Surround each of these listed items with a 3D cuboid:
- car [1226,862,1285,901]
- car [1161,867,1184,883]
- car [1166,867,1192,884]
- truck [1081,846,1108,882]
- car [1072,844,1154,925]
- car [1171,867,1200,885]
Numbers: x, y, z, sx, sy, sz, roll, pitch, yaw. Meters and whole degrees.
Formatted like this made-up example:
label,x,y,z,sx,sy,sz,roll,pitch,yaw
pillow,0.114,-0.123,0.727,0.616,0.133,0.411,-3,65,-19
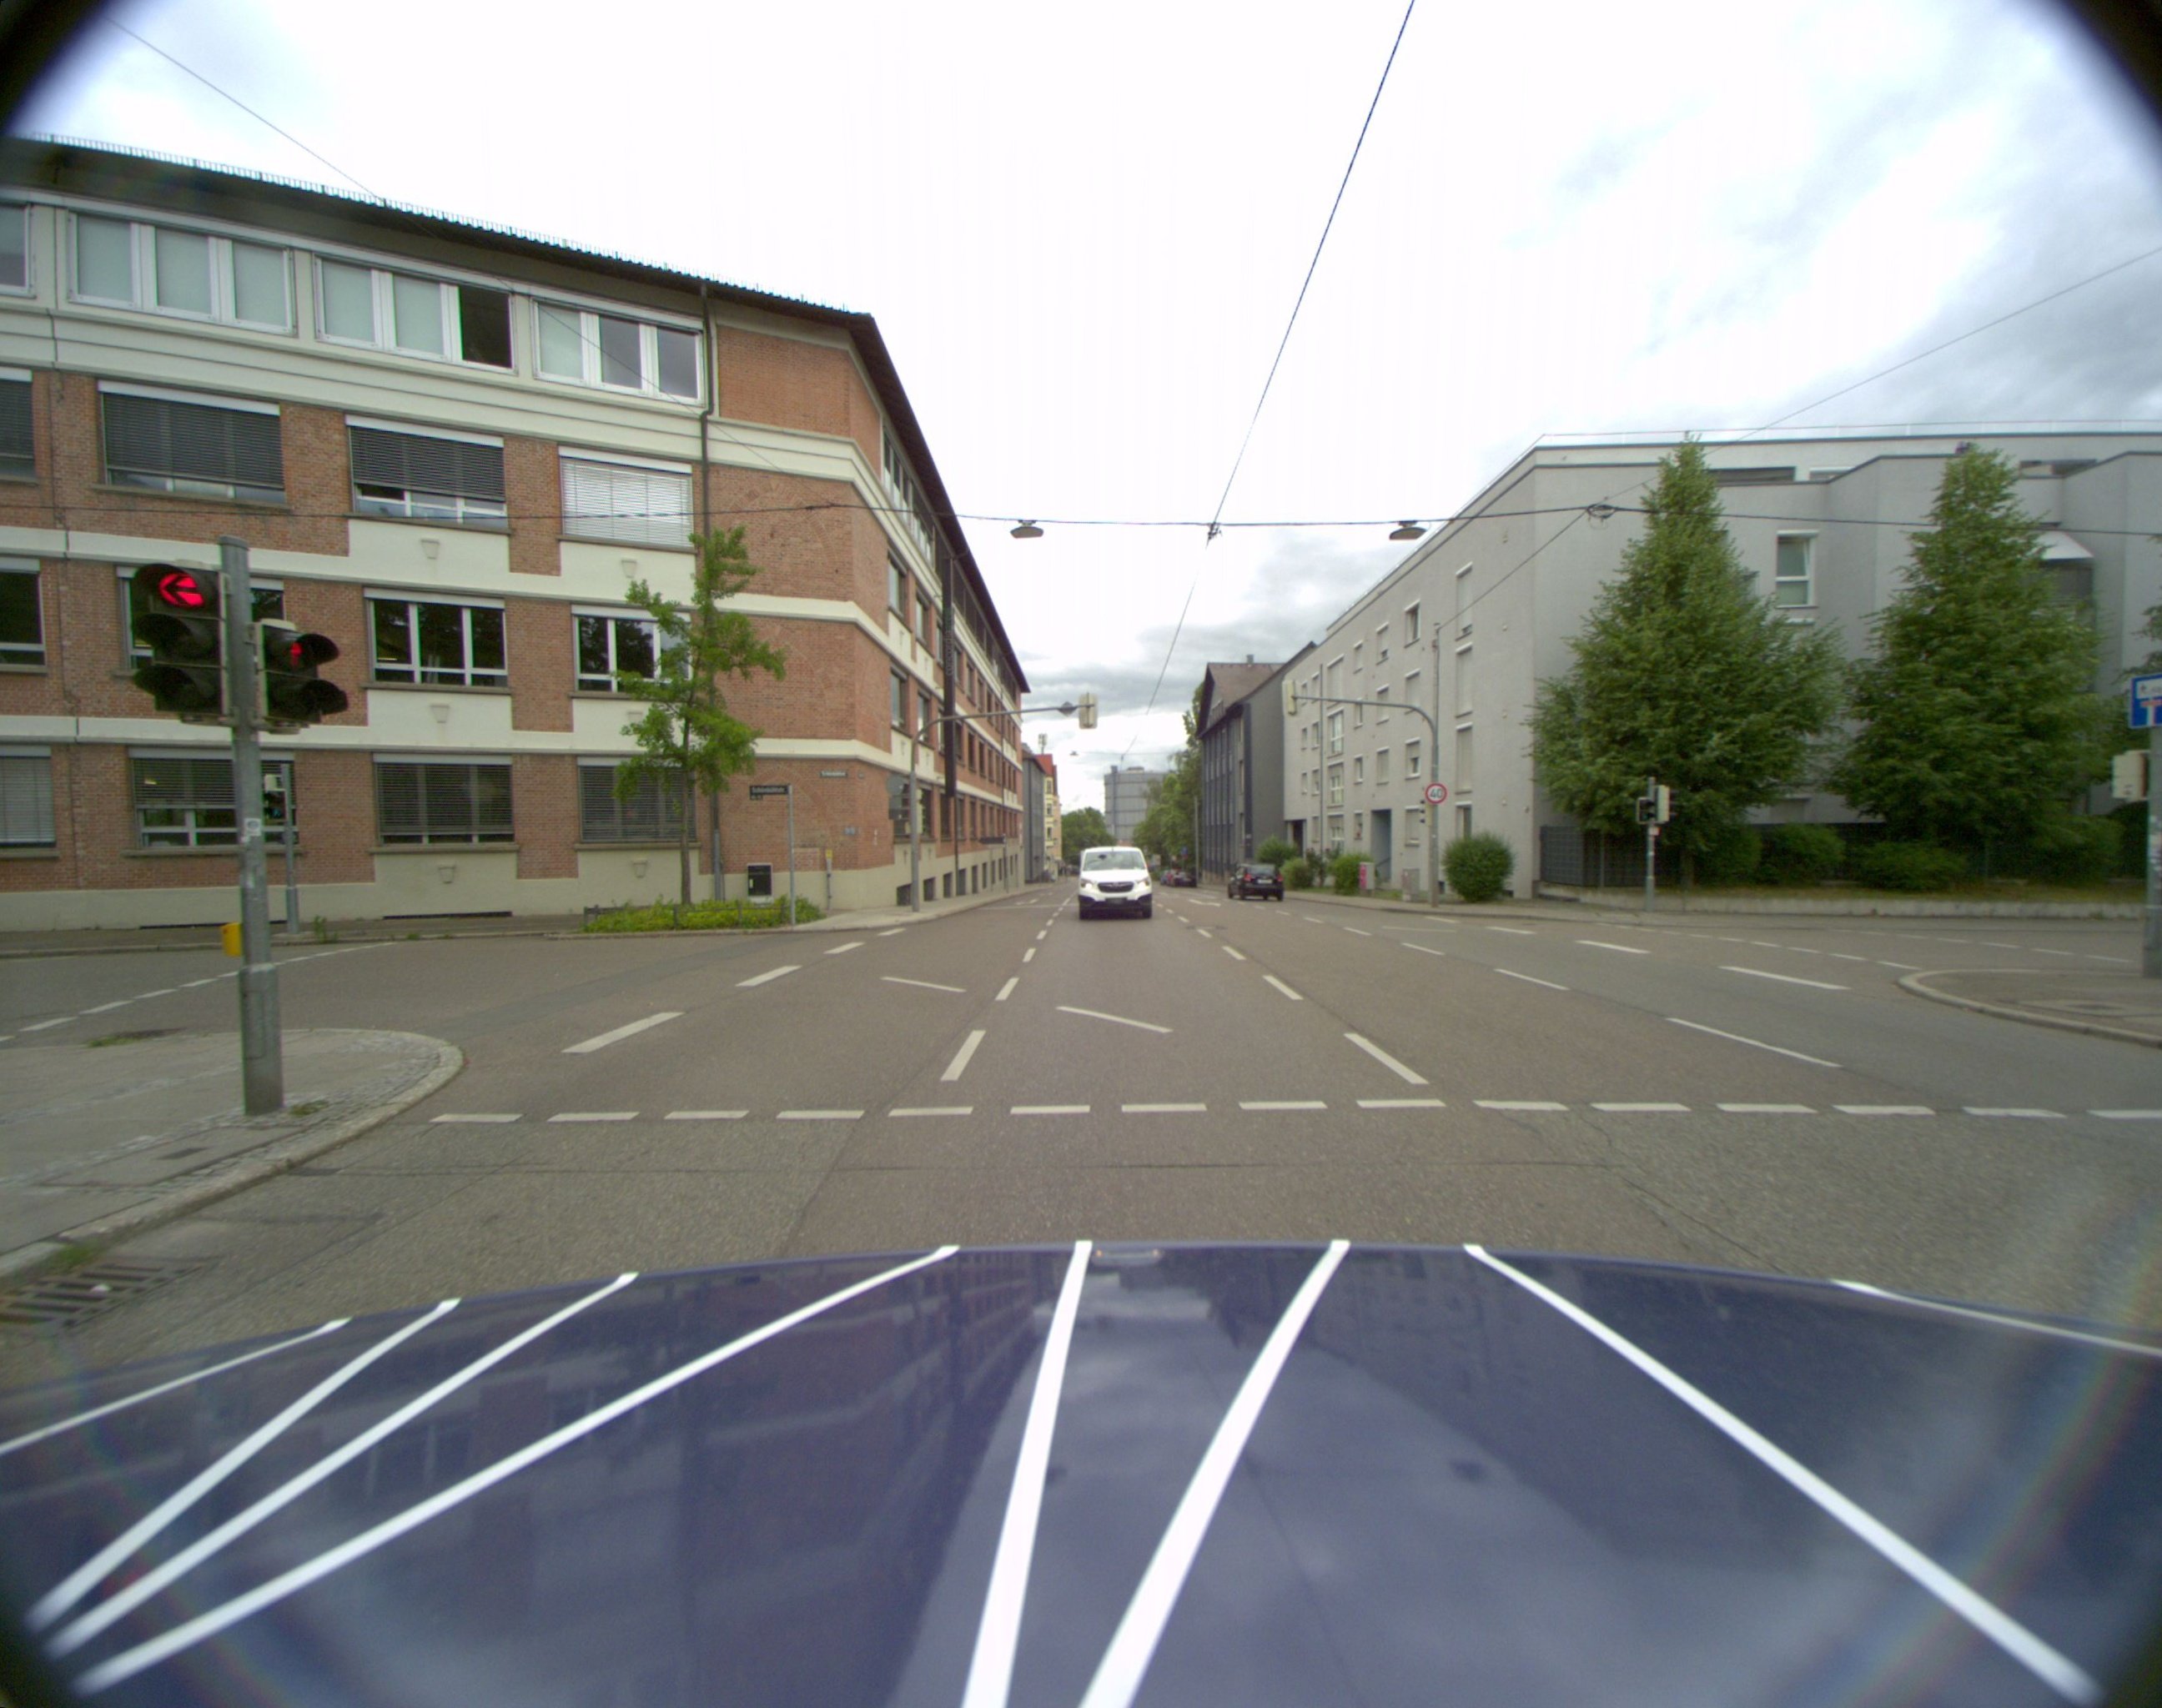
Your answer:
label,x,y,z,sx,sy,sz,roll,pitch,yaw
car,6.892,1.060,30.373,1.591,1.455,3.616,0,0,1
car,8.622,1.977,72.096,1.799,1.401,4.000,0,0,1
car,8.550,1.874,66.641,1.799,1.401,4.000,0,0,1
truck,1.417,1.001,77.804,2.545,3.478,8.521,0,0,1
car,0.802,0.755,19.776,1.850,1.831,4.285,-2,-1,1
car,8.286,1.722,60.550,1.799,1.401,4.000,0,0,1
